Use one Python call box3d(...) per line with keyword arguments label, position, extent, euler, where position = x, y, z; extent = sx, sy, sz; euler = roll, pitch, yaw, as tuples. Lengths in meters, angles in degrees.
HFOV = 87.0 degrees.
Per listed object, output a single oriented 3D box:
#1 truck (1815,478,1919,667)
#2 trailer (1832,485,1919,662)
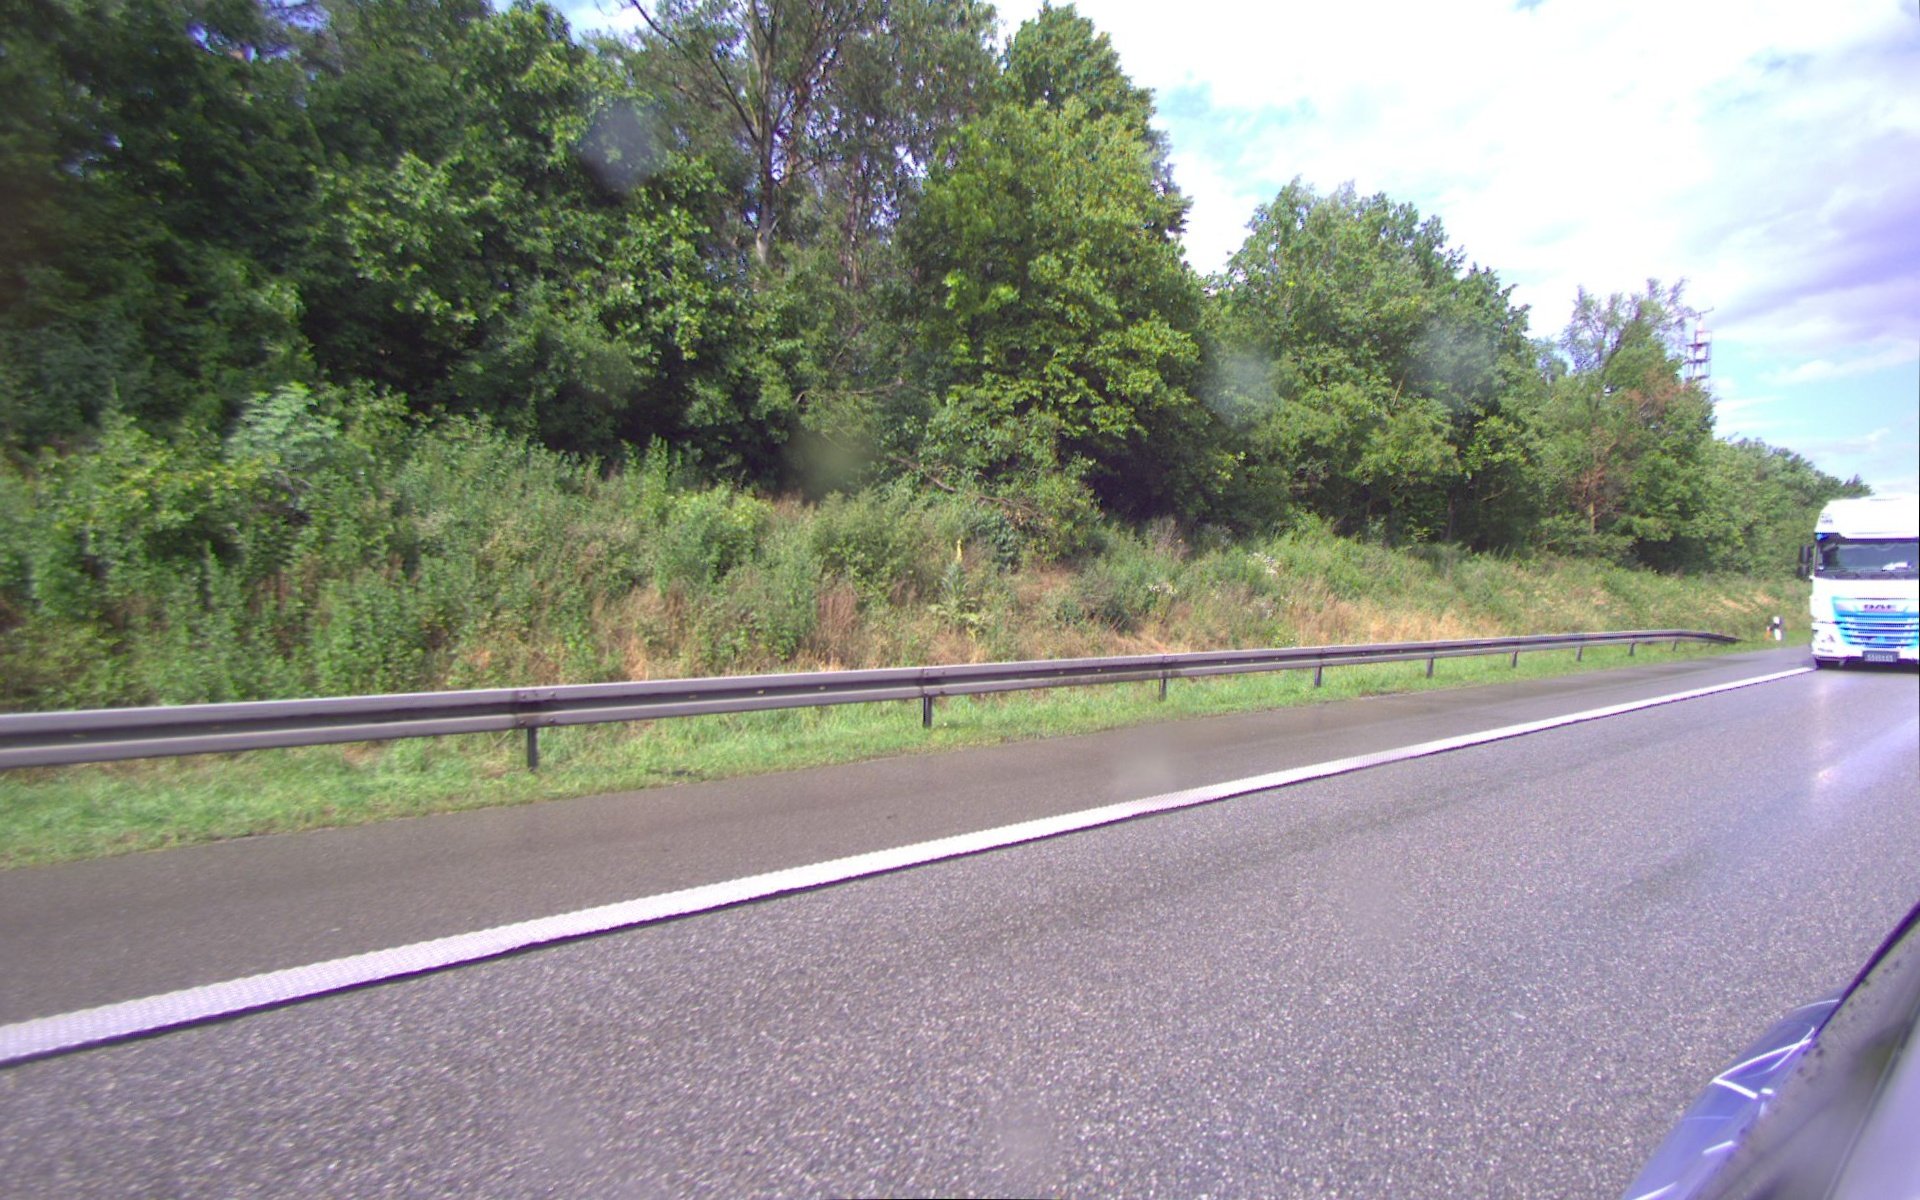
box3d(label="truck", position=(22.933, -0.605, 24.297), extent=(7.163, 4.046, 2.611), euler=(0, 0, -41))
box3d(label="trailer", position=(27.012, -0.622, 27.850), extent=(13.819, 4.046, 2.639), euler=(0, 0, -41))
